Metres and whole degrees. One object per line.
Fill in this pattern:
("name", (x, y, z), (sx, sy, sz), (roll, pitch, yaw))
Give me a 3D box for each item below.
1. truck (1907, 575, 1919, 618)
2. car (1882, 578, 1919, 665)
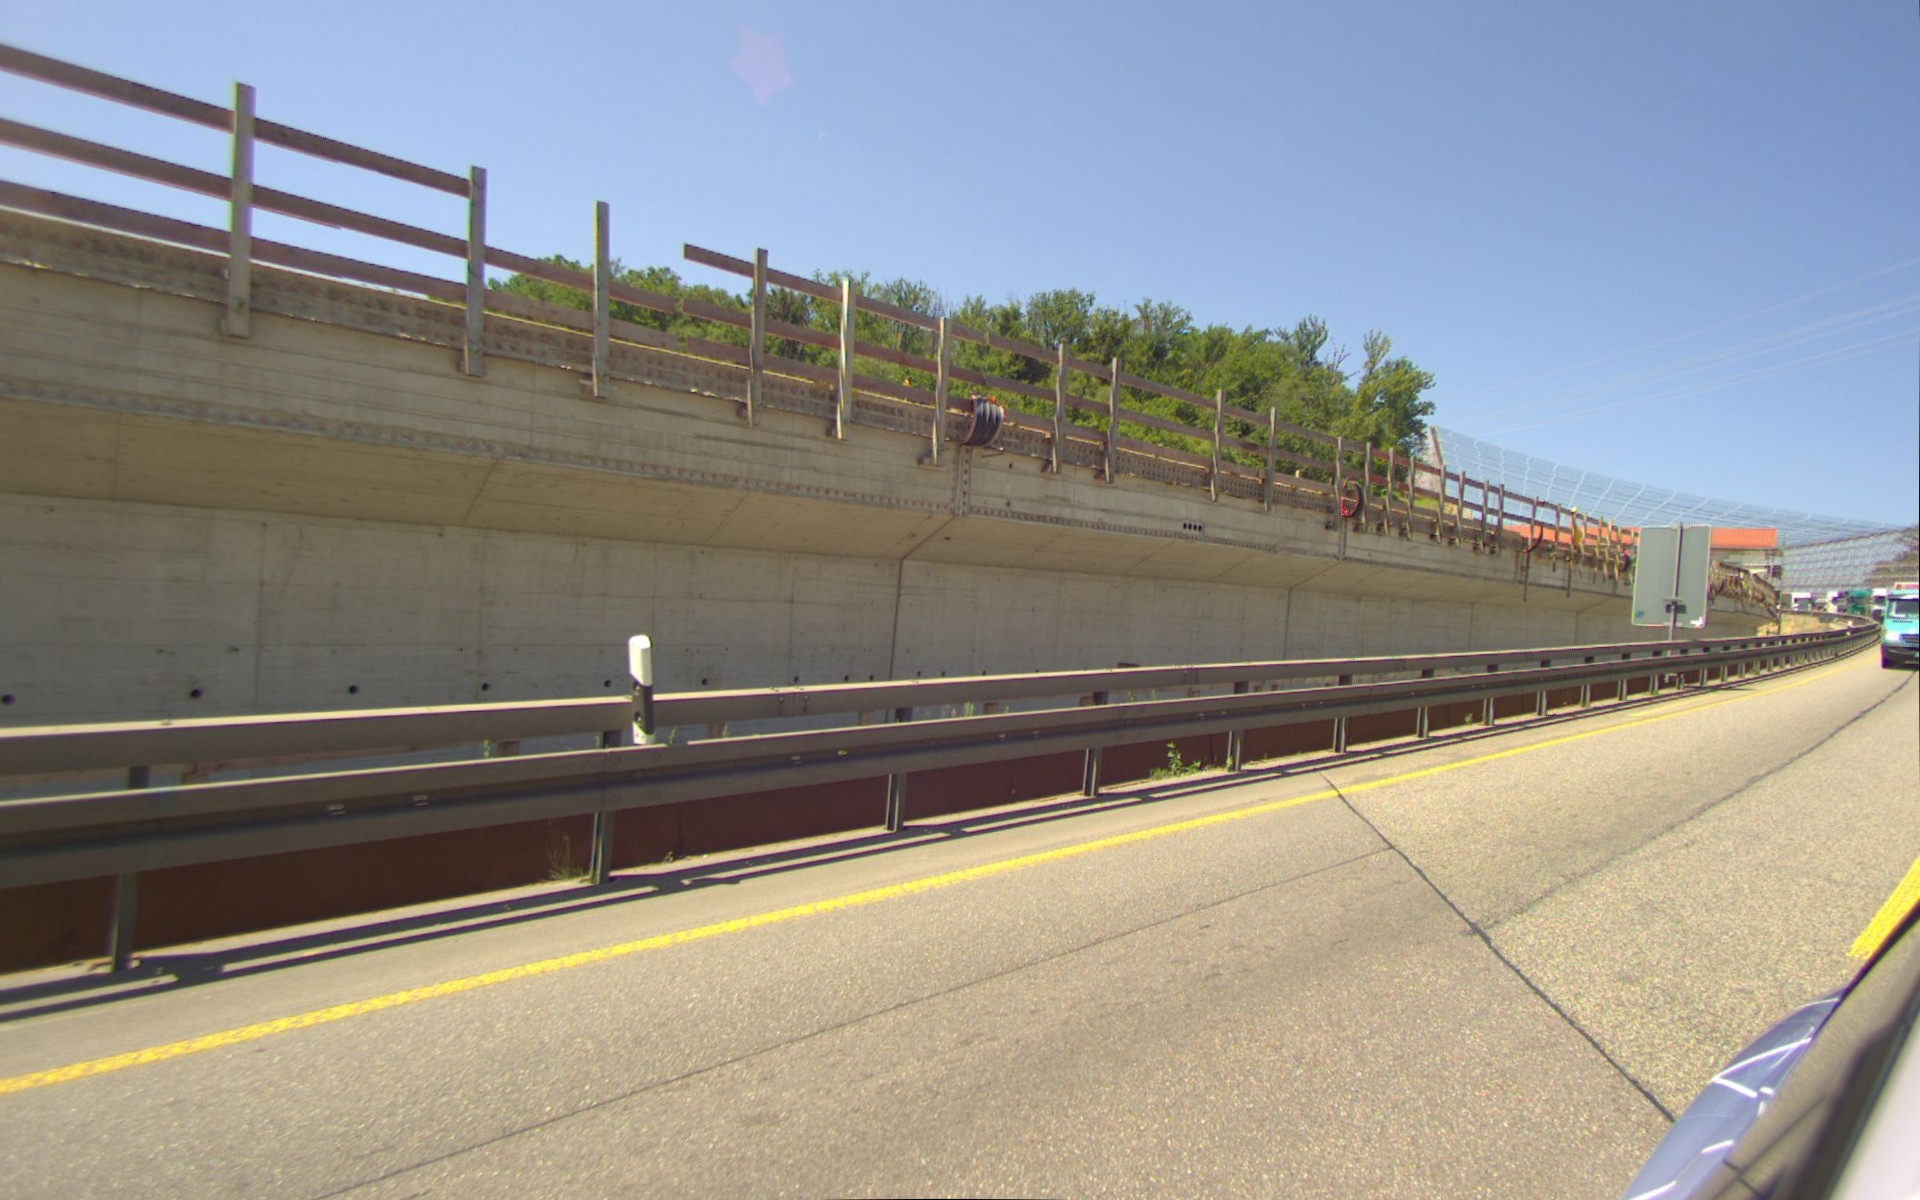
("truck", (82.321, -0.303, 85.934), (2.462, 3.528, 9.719), (-1, -1, 42))
("car", (28.820, 0.593, 29.647), (6.787, 2.355, 2.213), (0, 0, -44))
